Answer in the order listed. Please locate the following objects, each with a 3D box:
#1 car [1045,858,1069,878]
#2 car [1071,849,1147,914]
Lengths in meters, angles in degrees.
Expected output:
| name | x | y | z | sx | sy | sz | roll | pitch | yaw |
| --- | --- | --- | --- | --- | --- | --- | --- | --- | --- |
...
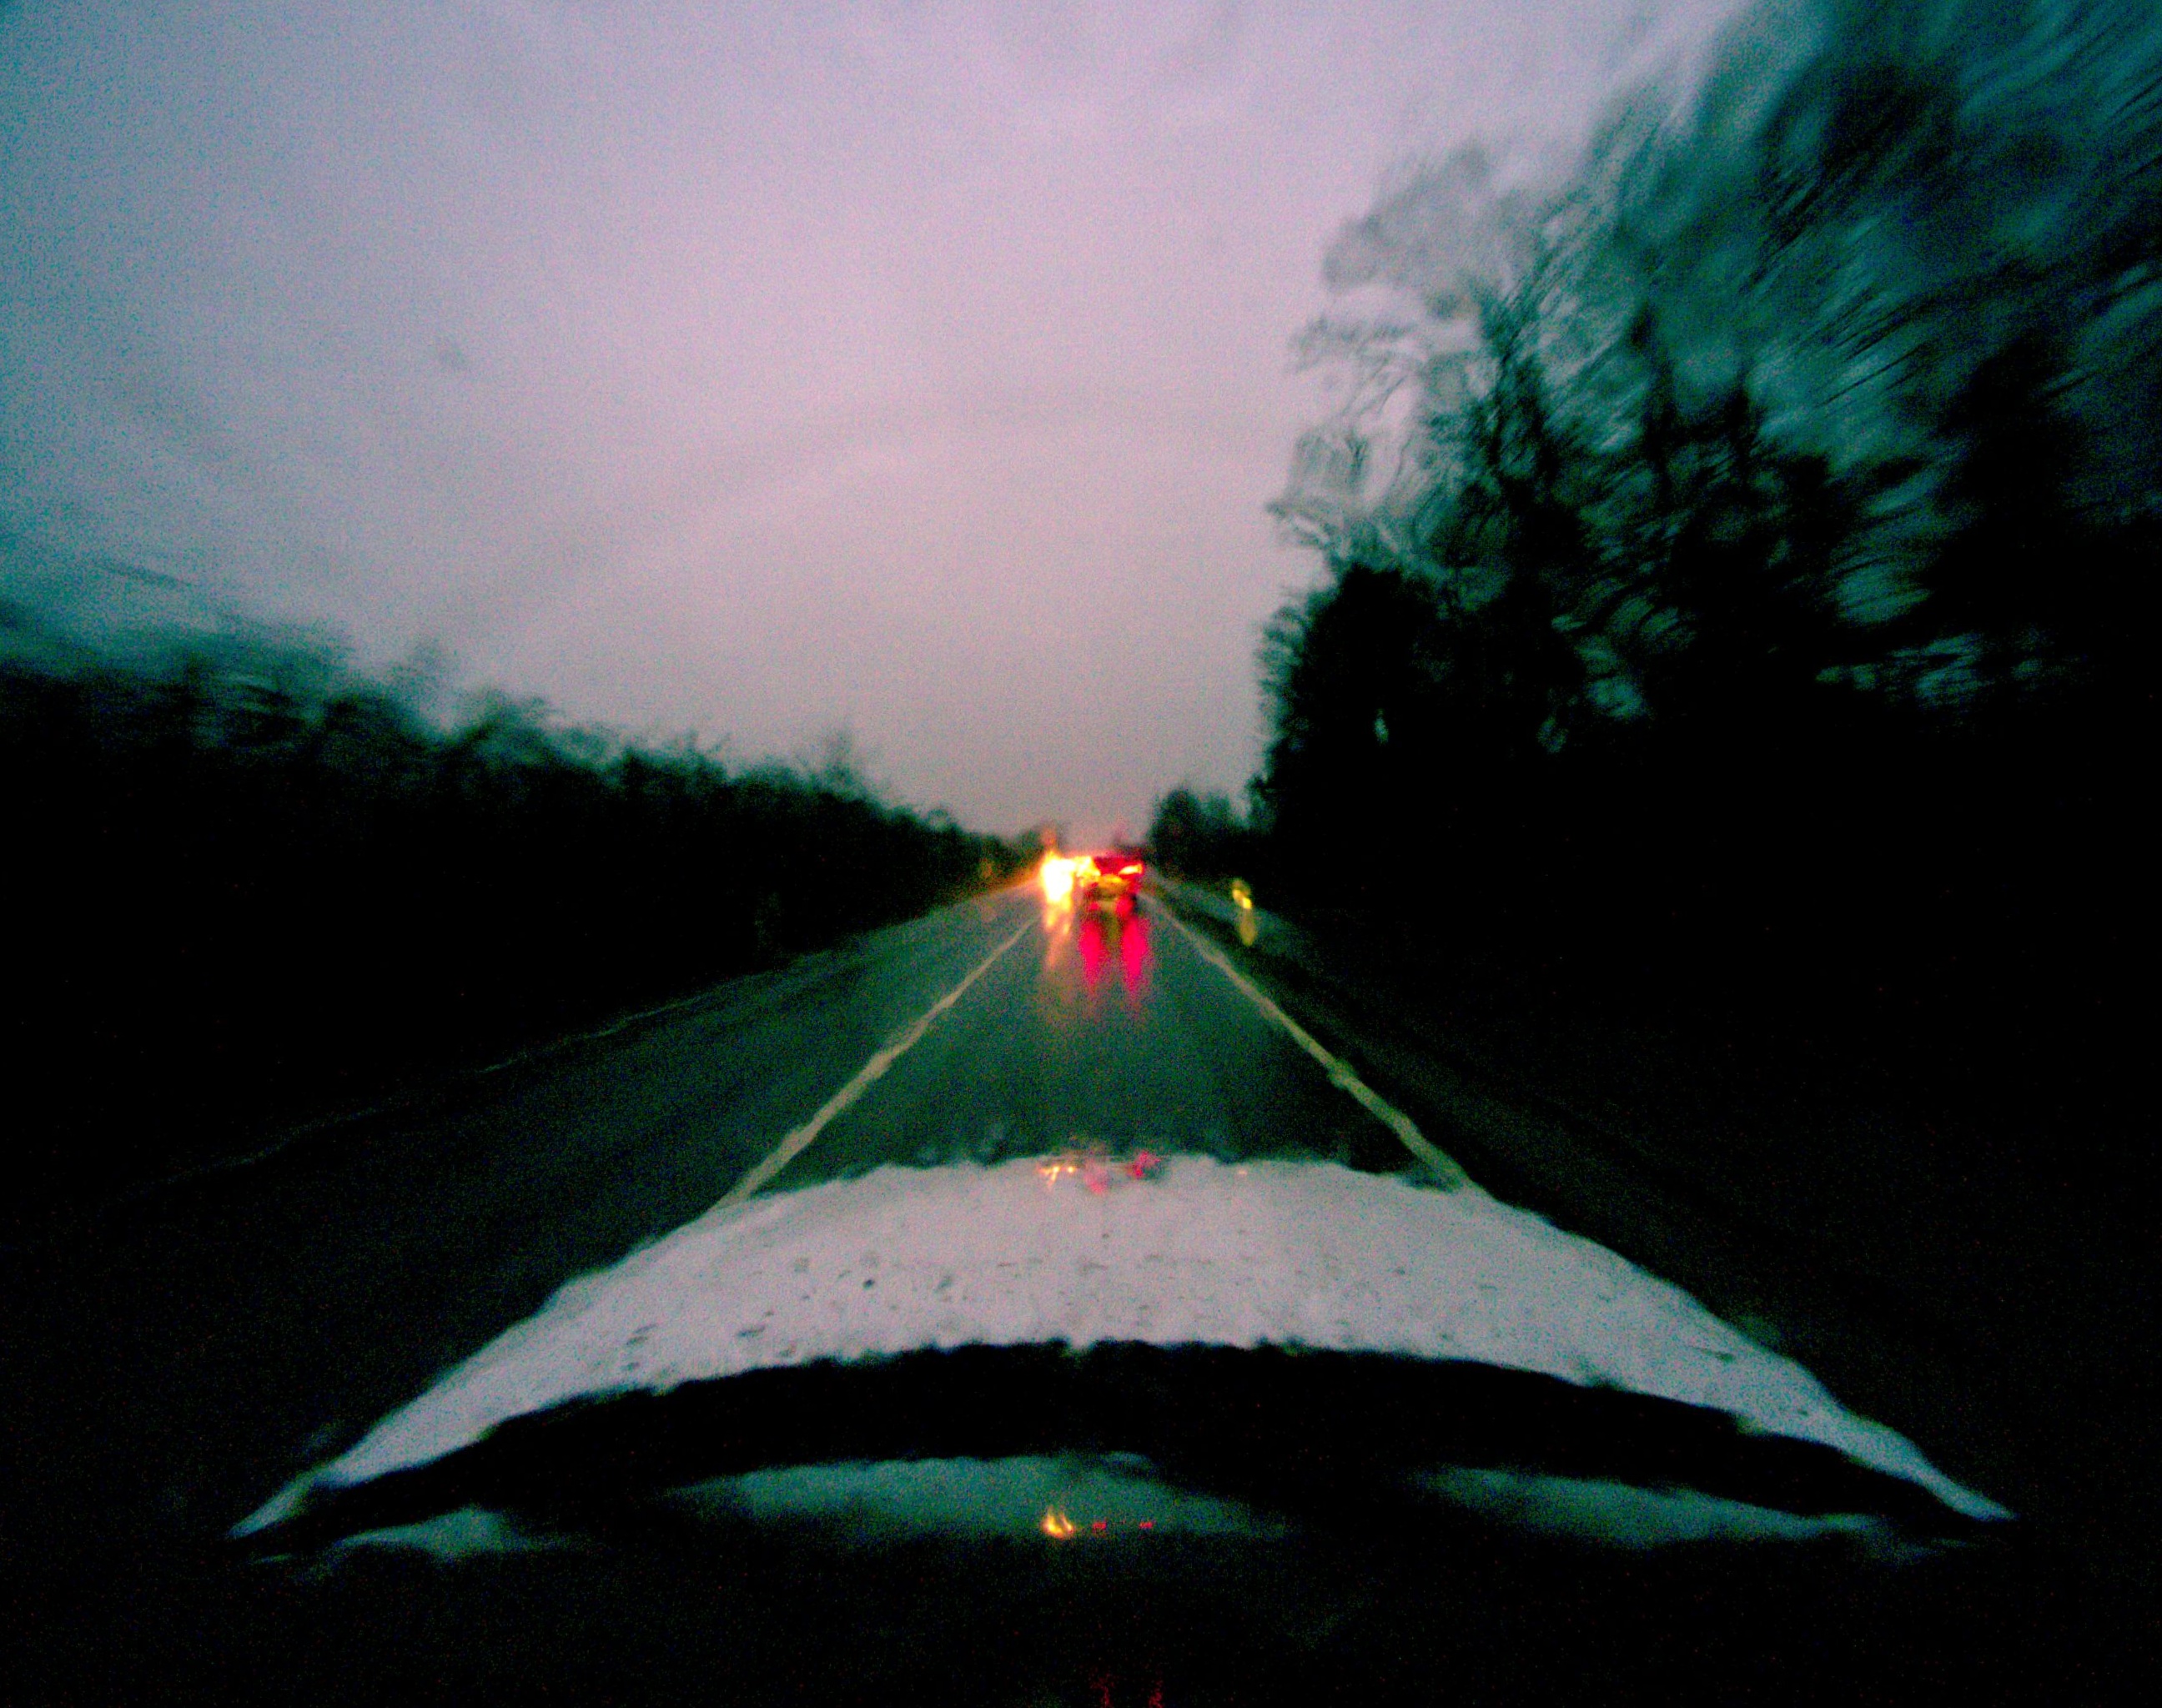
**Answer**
| name | x | y | z | sx | sy | sz | roll | pitch | yaw |
| --- | --- | --- | --- | --- | --- | --- | --- | --- | --- |
| car | -2.013 | 1.162 | 69.411 | 1.761 | 1.598 | 4.000 | -4 | 0 | 1 |
| car | 0.861 | 0.777 | 25.414 | 2.112 | 1.820 | 4.981 | -1 | 0 | 1 |
